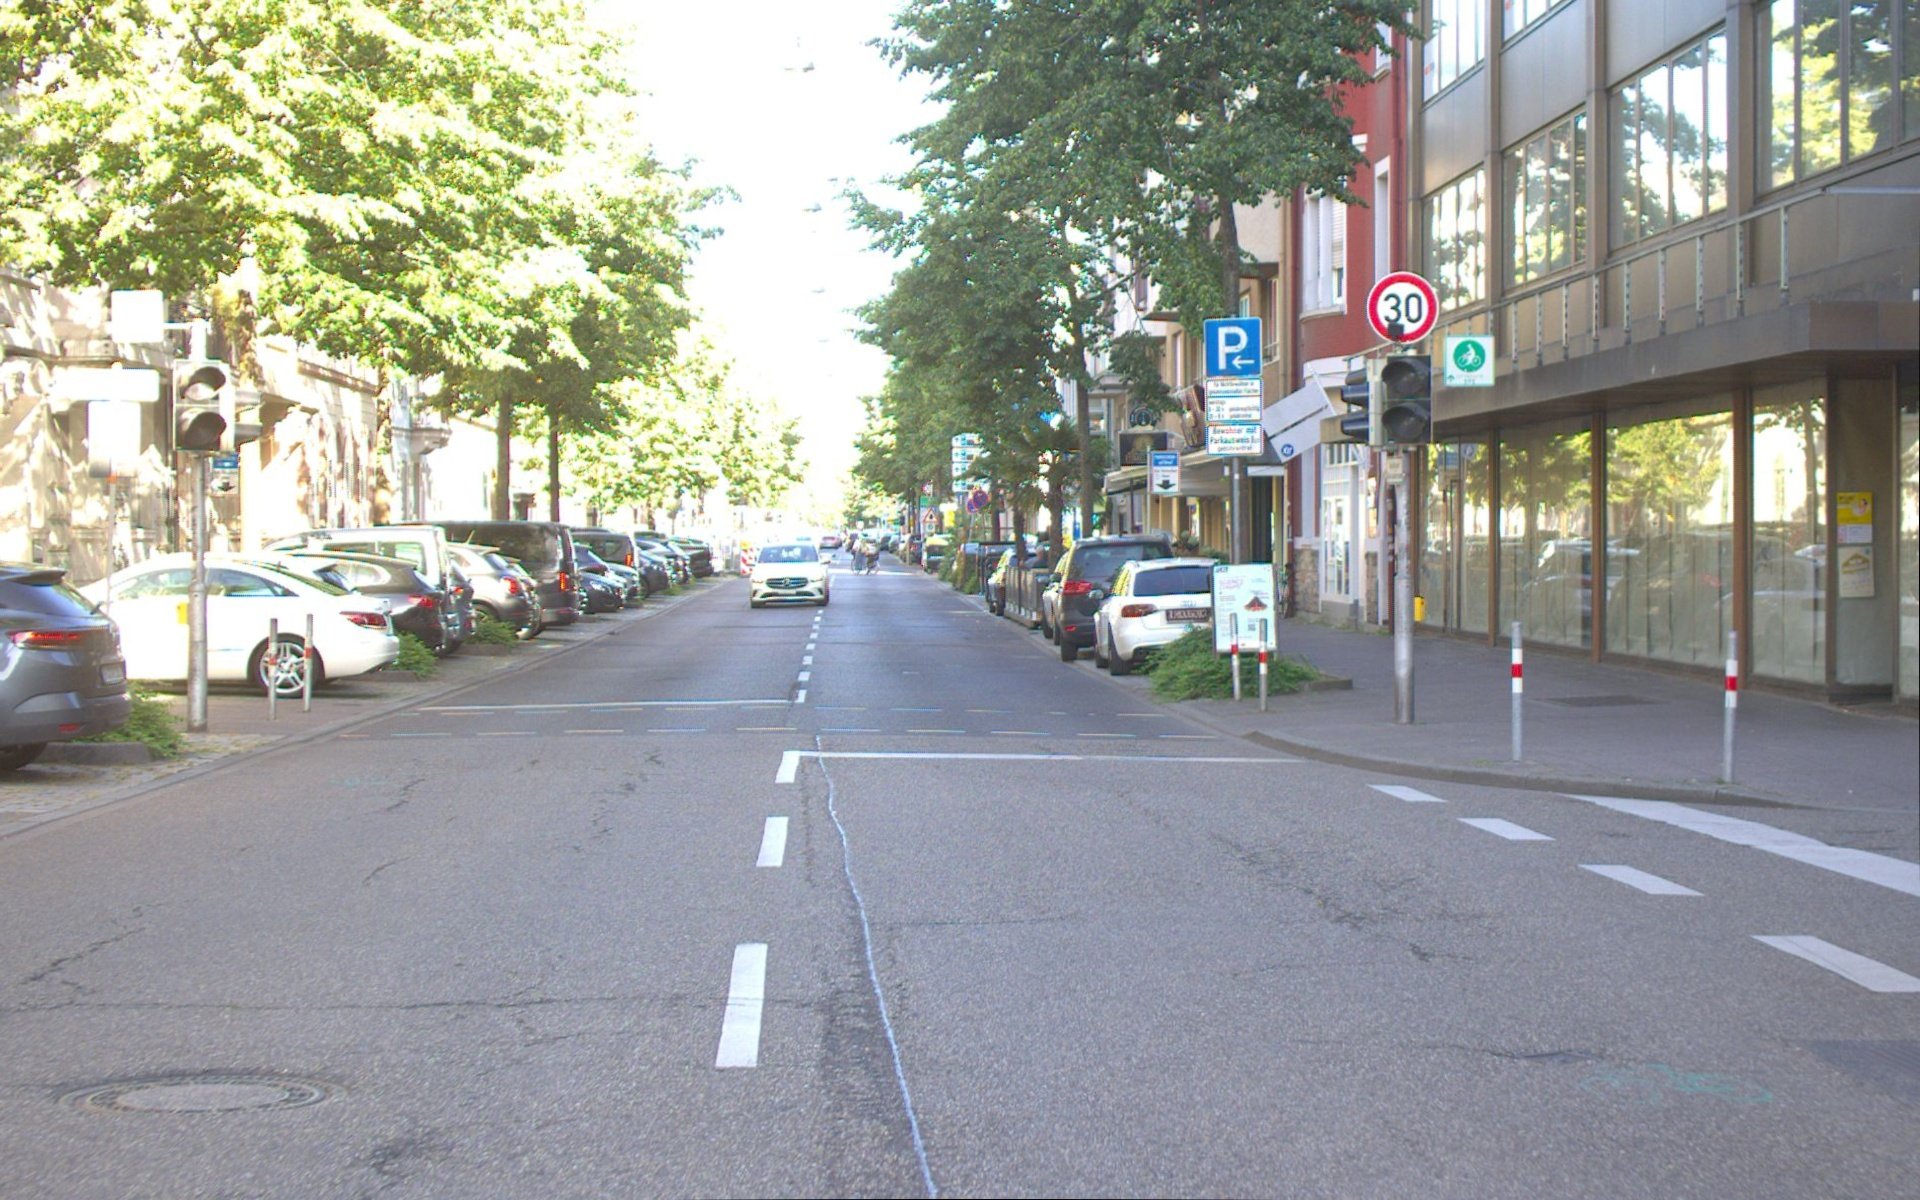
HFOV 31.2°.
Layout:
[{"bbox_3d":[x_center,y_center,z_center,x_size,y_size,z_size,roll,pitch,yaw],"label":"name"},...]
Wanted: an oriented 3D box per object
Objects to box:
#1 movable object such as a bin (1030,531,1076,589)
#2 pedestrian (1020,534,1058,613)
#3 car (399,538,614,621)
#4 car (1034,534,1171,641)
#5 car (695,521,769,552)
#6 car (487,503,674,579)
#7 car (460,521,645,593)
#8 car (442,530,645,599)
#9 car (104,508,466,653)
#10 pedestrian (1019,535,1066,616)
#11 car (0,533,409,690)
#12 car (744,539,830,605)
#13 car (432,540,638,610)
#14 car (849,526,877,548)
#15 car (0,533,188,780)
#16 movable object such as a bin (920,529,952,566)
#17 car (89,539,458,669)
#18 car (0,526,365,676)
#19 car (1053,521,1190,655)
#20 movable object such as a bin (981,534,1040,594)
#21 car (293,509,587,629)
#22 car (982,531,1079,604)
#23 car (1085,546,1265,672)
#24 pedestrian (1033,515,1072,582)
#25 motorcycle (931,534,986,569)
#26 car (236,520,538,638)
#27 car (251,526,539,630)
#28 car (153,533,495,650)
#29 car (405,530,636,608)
[{"bbox_3d":[2.347,-1.011,86.673,1.077,1.426,1.295,0,1,-2],"label":"movable object such as a bin"},{"bbox_3d":[1.545,-0.524,67.007,0.650,1.531,0.980,-1,1,-3],"label":"pedestrian"},{"bbox_3d":[-9.584,-0.447,72.943,4.339,1.703,1.917,0,1,-2],"label":"car"},{"bbox_3d":[2.287,-0.246,56.351,1.822,1.591,4.842,-3,1,-2],"label":"car"},{"bbox_3d":[-12.953,-3.612,195.413,3.987,1.688,2.000,0,1,3],"label":"car"},{"bbox_3d":[-9.890,-1.542,89.886,4.680,1.943,1.917,1,1,0],"label":"car"},{"bbox_3d":[-10.304,-1.099,87.161,4.466,1.766,1.917,1,1,0],"label":"car"},{"bbox_3d":[-9.709,-0.839,80.334,4.466,1.535,1.916,1,1,2],"label":"car"},{"bbox_3d":[-8.775,-0.264,44.954,4.339,1.818,1.930,1,1,0],"label":"car"},{"bbox_3d":[1.584,-0.468,65.710,0.750,1.531,0.807,0,1,13],"label":"pedestrian"},{"bbox_3d":[-8.091,0.110,35.256,4.698,1.487,2.000,1,0,-6],"label":"car"},{"bbox_3d":[-4.110,-0.693,82.300,1.910,1.539,4.354,0,1,-1],"label":"car"},{"bbox_3d":[-9.563,-0.571,77.586,4.465,1.535,1.917,0,1,-2],"label":"car"},{"bbox_3d":[-6.230,-4.036,220.561,1.792,1.406,4.001,0,2,-2],"label":"car"},{"bbox_3d":[-7.439,0.319,22.458,4.339,1.539,1.944,1,1,0],"label":"car"},{"bbox_3d":[-1.009,-2.212,144.802,1.143,1.556,1.459,-1,1,6],"label":"movable object such as a bin"},{"bbox_3d":[-8.446,0.039,42.241,4.338,1.539,1.965,0,1,-13],"label":"car"},{"bbox_3d":[-8.987,-0.013,37.700,4.698,1.487,2.001,1,2,-6],"label":"car"},{"bbox_3d":[2.304,-0.216,49.984,1.822,1.771,4.930,-2,1,2],"label":"car"},{"bbox_3d":[1.234,-0.884,84.299,1.399,1.449,1.146,0,1,-2],"label":"movable object such as a bin"},{"bbox_3d":[-8.612,-0.522,57.207,4.573,1.920,1.930,1,1,1],"label":"car"},{"bbox_3d":[1.525,-0.737,75.759,1.822,1.467,4.912,-3,1,-2],"label":"car"},{"bbox_3d":[2.661,0.065,43.564,1.822,1.398,4.842,-3,1,-1],"label":"car"},{"bbox_3d":[2.697,-1.499,99.973,0.926,1.929,0.760,0,1,23],"label":"pedestrian"},{"bbox_3d":[-0.048,-1.910,134.489,1.977,1.325,0.912,-1,1,-14],"label":"motorcycle"},{"bbox_3d":[-8.657,-0.324,52.205,4.339,1.727,1.917,0,1,-4],"label":"car"},{"bbox_3d":[-8.937,-0.357,54.619,4.339,1.590,1.917,0,1,-4],"label":"car"},{"bbox_3d":[-8.783,-0.136,47.680,4.339,1.539,1.916,1,1,3],"label":"car"},{"bbox_3d":[-9.000,-0.653,70.642,4.466,1.535,1.917,1,1,0],"label":"car"}]
